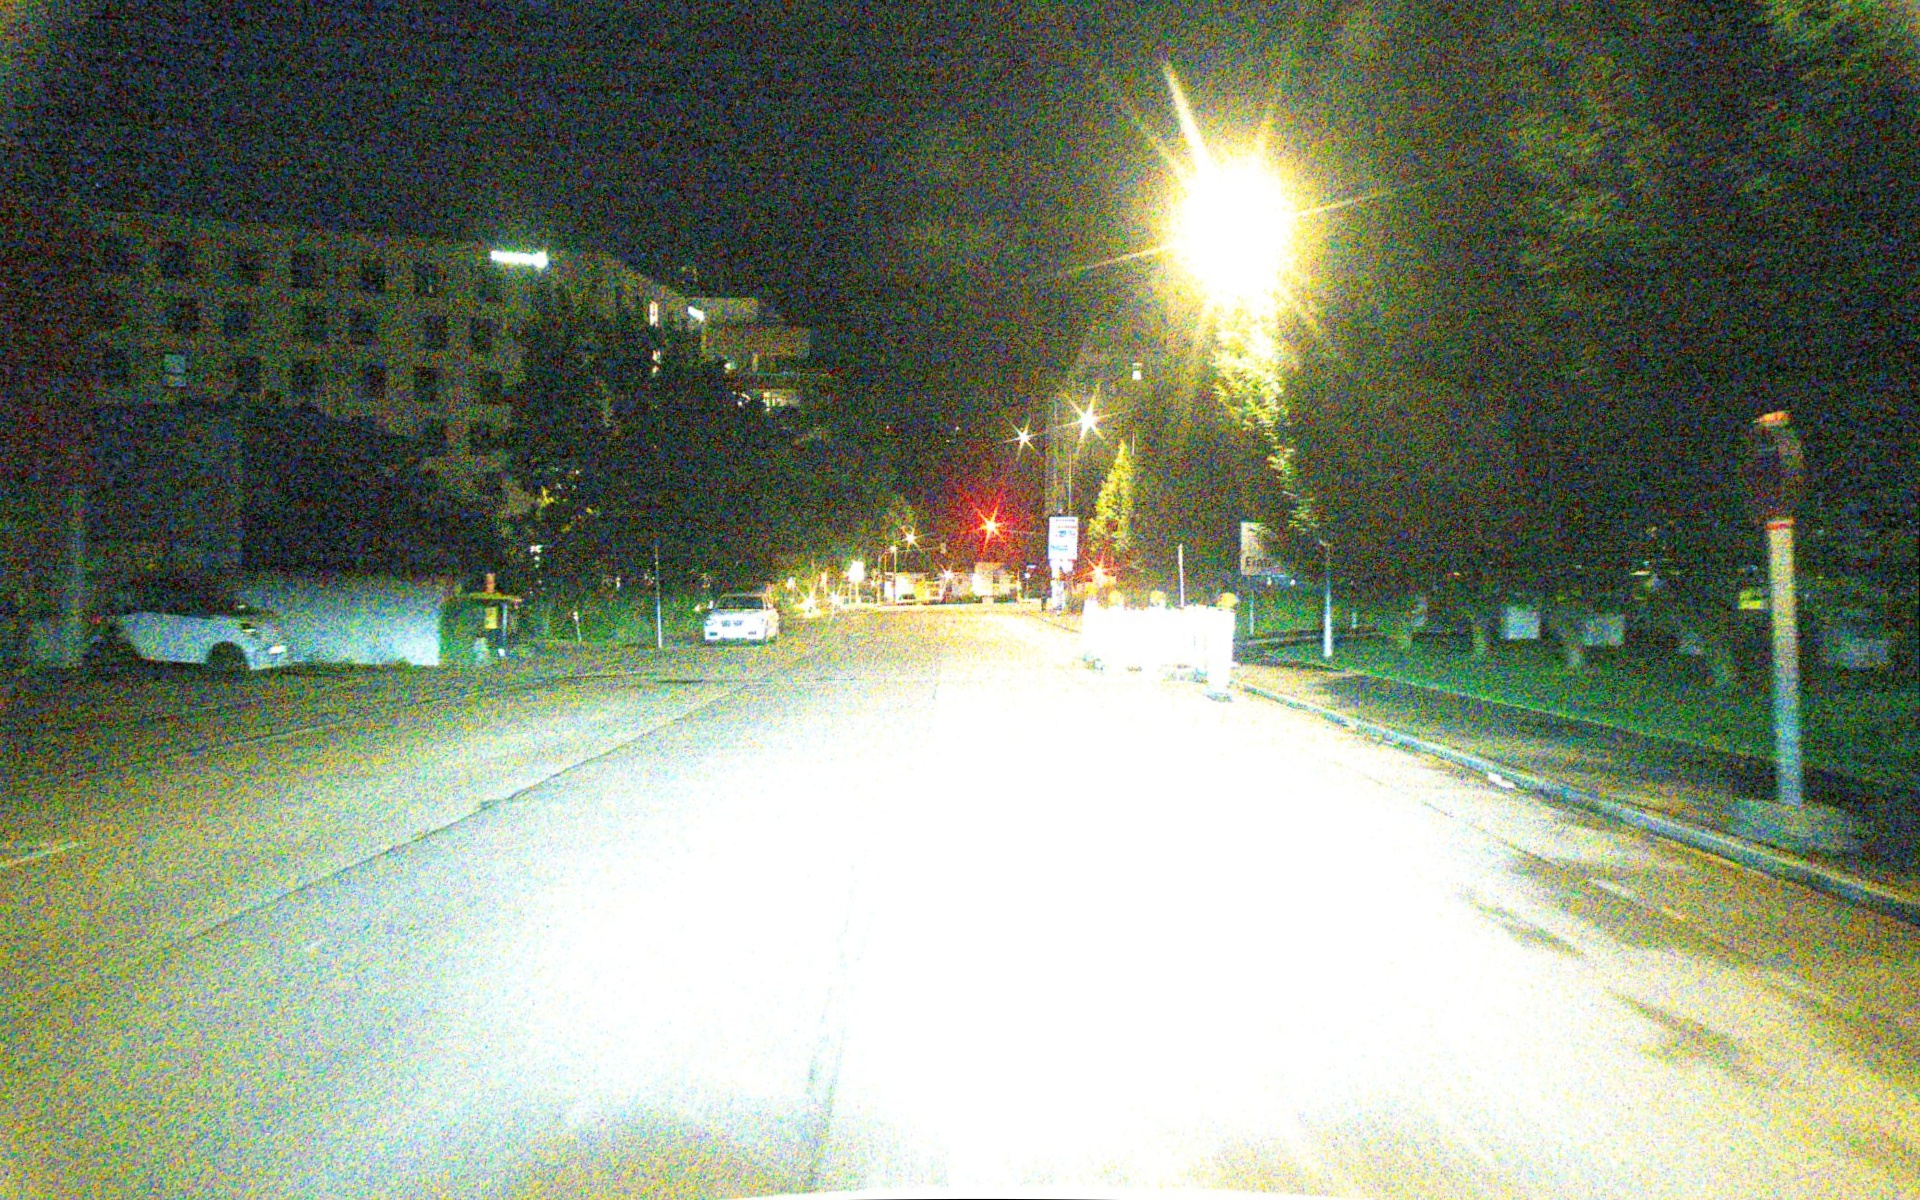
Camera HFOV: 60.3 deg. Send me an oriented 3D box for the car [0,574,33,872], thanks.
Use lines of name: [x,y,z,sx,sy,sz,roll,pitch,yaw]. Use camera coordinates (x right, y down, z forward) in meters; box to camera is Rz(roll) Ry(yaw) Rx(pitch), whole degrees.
car: [-5.940,0.654,6.762,1.718,1.553,4.324,0,0,2]

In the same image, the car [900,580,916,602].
car: [-7.176,-1.194,228.632,1.955,3.026,3.996,0,0,-5]

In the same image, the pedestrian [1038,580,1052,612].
pedestrian: [5.316,-0.264,103.834,0.725,2.016,0.623,0,0,-16]

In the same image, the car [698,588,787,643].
car: [-6.055,0.396,46.492,1.872,1.428,4.338,-1,0,1]

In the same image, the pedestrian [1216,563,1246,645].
pedestrian: [6.333,0.086,38.660,0.558,1.885,0.820,0,0,1]

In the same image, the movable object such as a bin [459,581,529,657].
movable object such as a bin: [-9.525,0.384,33.831,1.141,1.522,1.065,0,0,-3]

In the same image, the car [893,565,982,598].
car: [-3.307,-2.675,240.746,12.174,4.792,4.793,0,0,-14]

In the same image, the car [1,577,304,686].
car: [-12.802,0.481,26.400,3.905,1.598,1.817,-1,0,0]
